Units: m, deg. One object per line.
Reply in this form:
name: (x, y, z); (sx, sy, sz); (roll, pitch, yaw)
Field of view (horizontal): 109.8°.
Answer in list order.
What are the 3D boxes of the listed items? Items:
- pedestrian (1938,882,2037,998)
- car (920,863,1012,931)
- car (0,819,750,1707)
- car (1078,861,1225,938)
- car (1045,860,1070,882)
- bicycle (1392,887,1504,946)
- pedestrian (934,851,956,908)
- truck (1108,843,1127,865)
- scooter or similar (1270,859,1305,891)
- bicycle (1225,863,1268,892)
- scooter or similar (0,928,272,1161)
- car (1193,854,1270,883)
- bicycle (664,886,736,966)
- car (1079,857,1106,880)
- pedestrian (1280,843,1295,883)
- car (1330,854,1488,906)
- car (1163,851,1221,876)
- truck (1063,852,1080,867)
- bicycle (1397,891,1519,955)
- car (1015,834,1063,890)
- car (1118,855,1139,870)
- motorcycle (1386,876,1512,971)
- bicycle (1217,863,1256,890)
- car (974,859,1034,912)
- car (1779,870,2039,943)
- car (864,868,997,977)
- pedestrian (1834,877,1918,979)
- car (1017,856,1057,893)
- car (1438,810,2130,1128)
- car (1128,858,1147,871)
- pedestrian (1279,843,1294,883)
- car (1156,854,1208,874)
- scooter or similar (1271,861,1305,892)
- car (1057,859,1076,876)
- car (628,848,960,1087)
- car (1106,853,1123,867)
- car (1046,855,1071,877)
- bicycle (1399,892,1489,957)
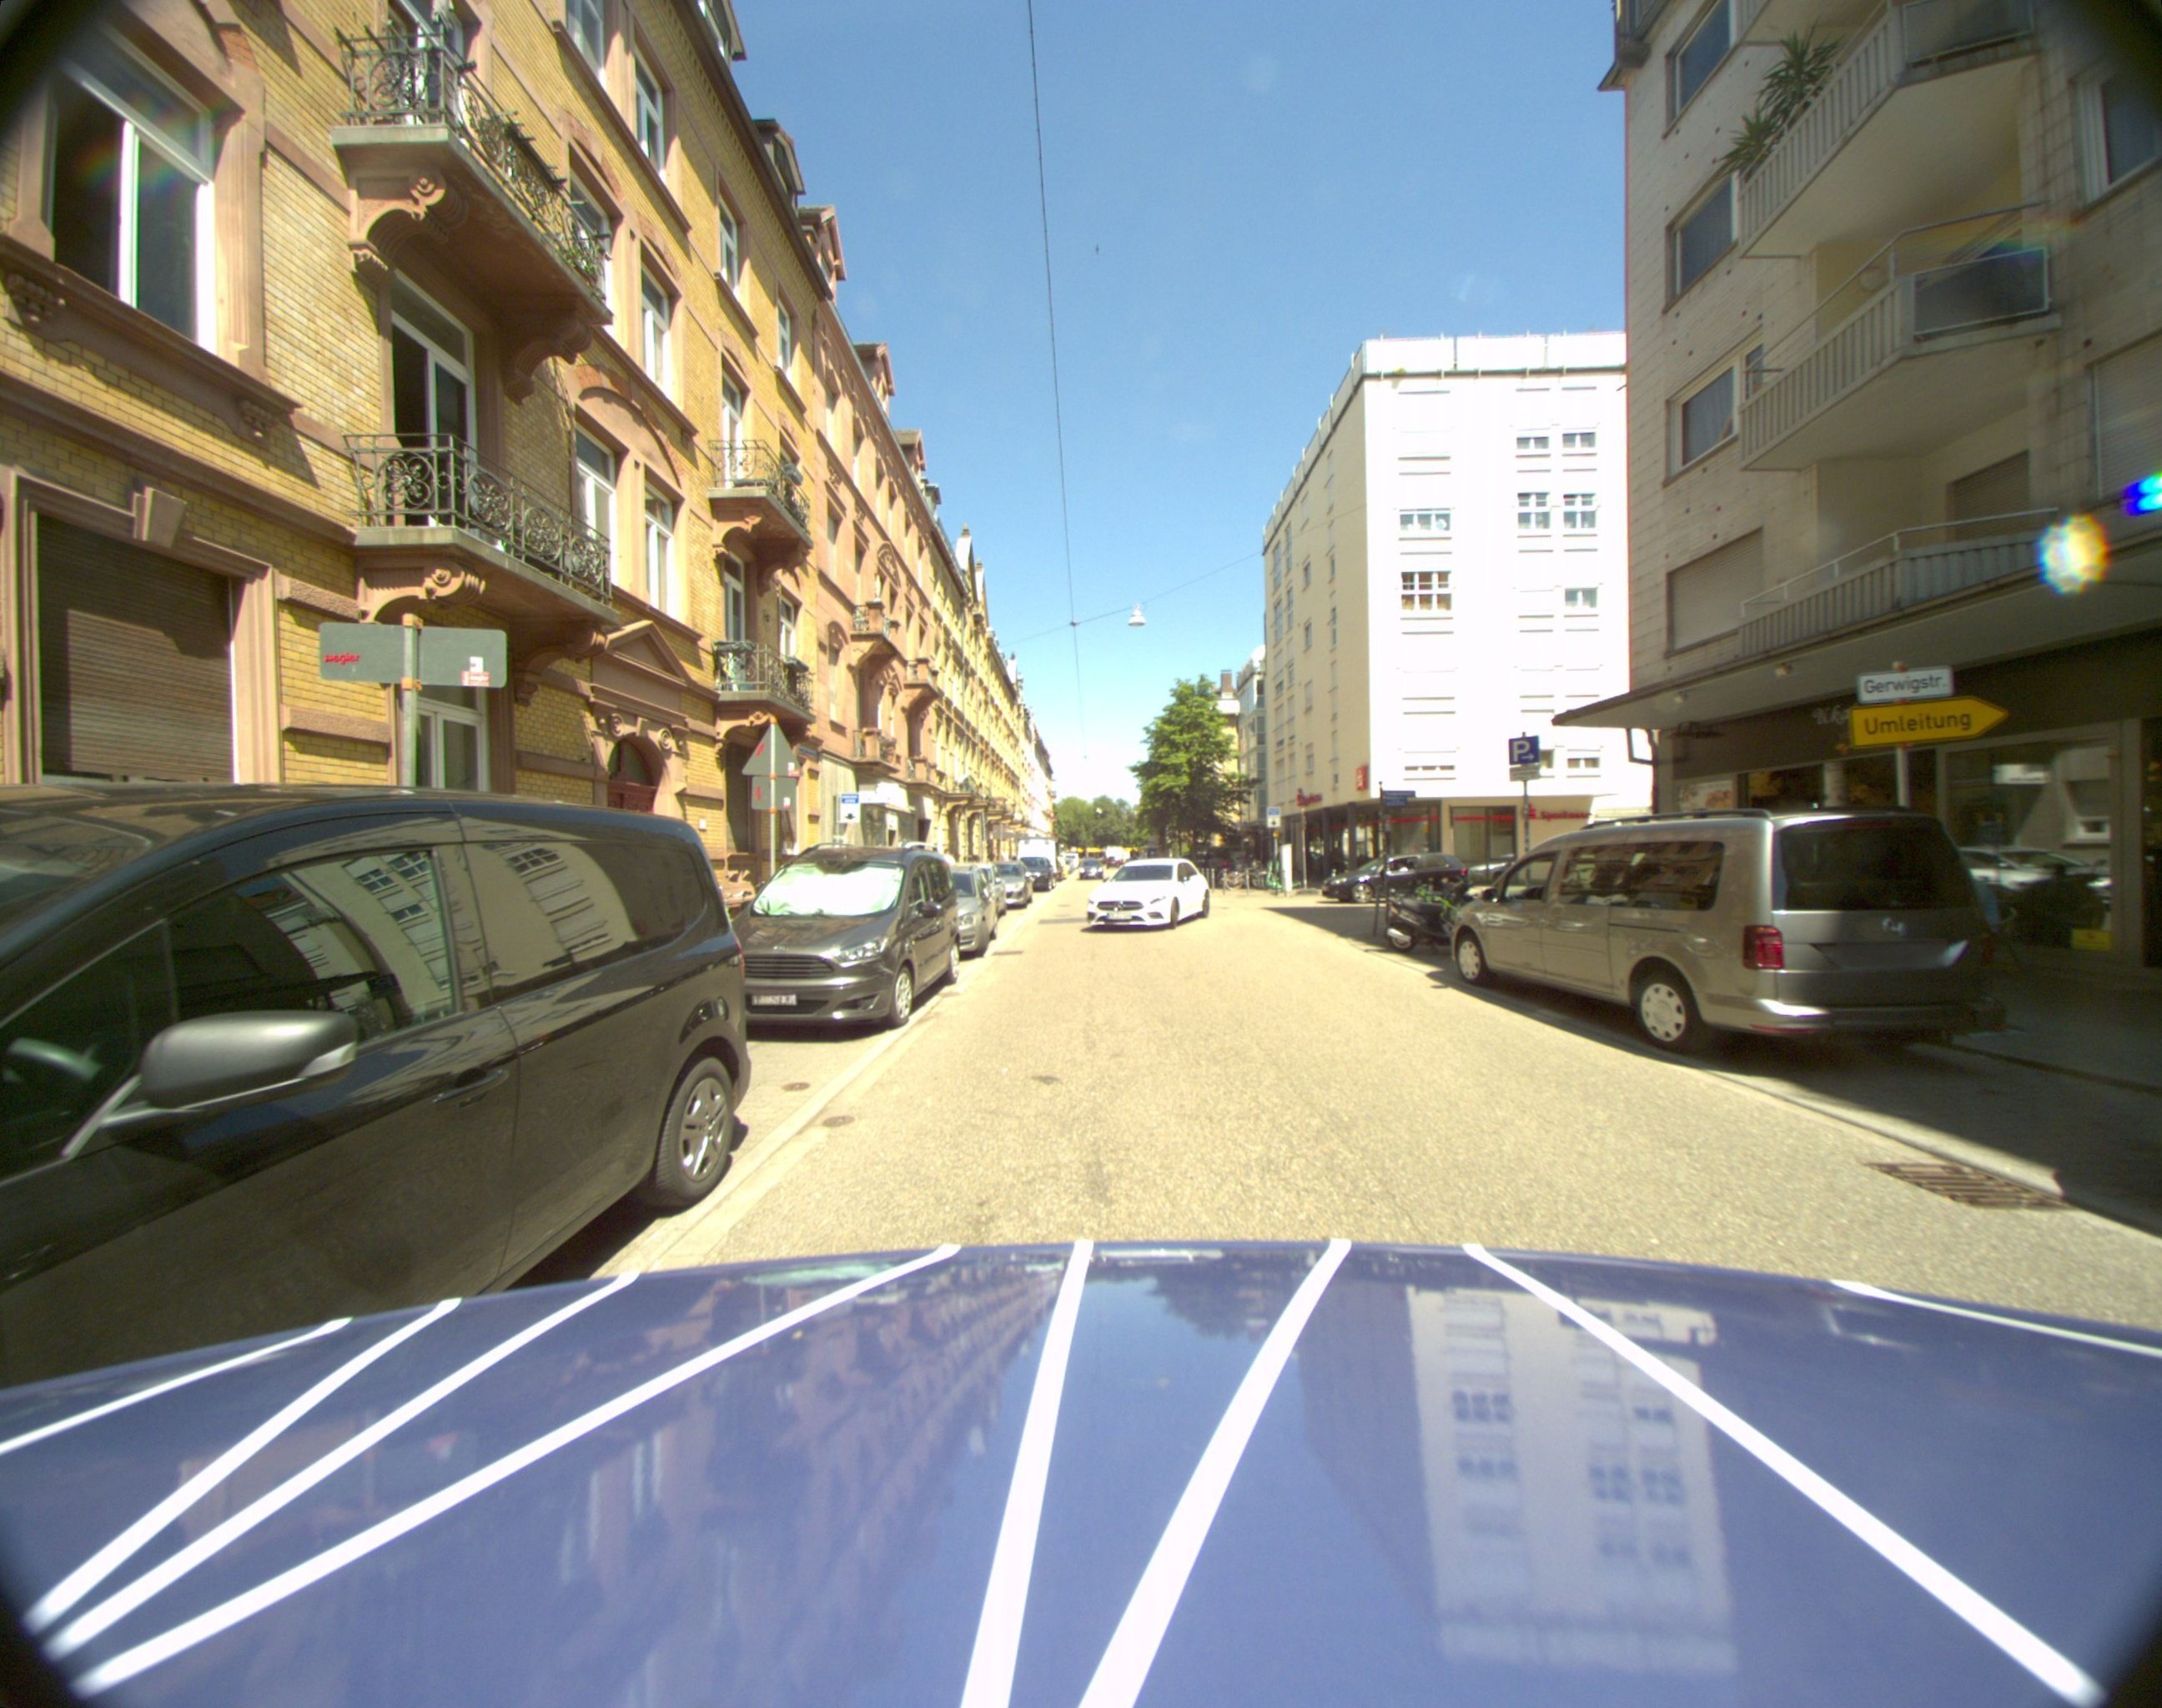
pedestrian: (9.305, 0.861, 7.821); (0.498, 1.120, 0.509); (-1, 0, 29)
car: (-2.865, 1.028, 19.686); (1.830, 1.452, 3.999); (-2, 0, -2)
car: (-2.566, 0.824, 1.673); (1.829, 1.756, 4.337); (0, 0, -1)
car: (1.705, 0.905, 16.835); (1.811, 1.417, 4.249); (-1, 0, 26)
car: (-1.588, 1.115, 51.077); (1.533, 1.293, 3.686); (-2, 0, -2)
bicycle: (6.428, 1.067, 13.380); (1.706, 0.951, 0.411); (-2, 1, 43)
pedestrian: (-4.596, 0.856, 25.638); (0.635, 1.903, 0.370); (-1, 0, 1)
truck: (5.698, -0.005, 119.975); (2.763, 3.270, 4.957); (-2, 0, 1)
scooter or similar: (7.715, 0.797, 28.416); (1.192, 1.160, 0.289); (-1, 0, -1)
bicycle: (6.732, 0.952, 30.971); (1.608, 1.084, 0.371); (-3, 0, 6)
scooter or similar: (-6.173, 1.116, 4.467); (0.477, 1.146, 2.149); (-1, 0, 1)
car: (8.273, 0.783, 41.996); (3.885, 1.520, 1.652); (-1, 0, 0)
bicycle: (-5.975, 1.097, 11.992); (0.366, 1.101, 1.428); (-1, 1, 1)
car: (0.844, 1.012, 54.112); (1.780, 1.460, 4.000); (-3, 0, 1)
pedestrian: (10.826, 0.470, 39.790); (0.608, 2.113, 0.496); (-1, 1, 36)
car: (9.540, 0.737, 22.370); (3.887, 1.417, 1.816); (-1, 0, 5)
car: (7.967, 0.666, 54.615); (3.885, 1.737, 1.652); (-1, 0, 0)
truck: (-1.257, 0.735, 101.747); (1.998, 2.002, 4.902); (-1, 0, 1)
bicycle: (6.102, 1.089, 12.369); (1.706, 0.951, 0.411); (-2, 1, 43)
car: (-2.152, 0.404, 40.467); (2.067, 2.687, 5.039); (-3, 0, 1)
car: (5.061, 0.904, 82.139); (1.998, 1.505, 4.000); (-3, 0, 1)
motorcycle: (5.248, 0.974, 10.881); (1.552, 1.276, 0.394); (-2, 1, 33)
bicycle: (6.692, 0.973, 32.733); (1.608, 1.084, 0.371); (-3, 0, 6)
car: (-2.351, 0.935, 23.931); (1.603, 1.453, 3.689); (-2, 0, -2)
car: (18.199, 1.077, 16.912); (1.526, 1.362, 3.583); (-2, 0, -21)
car: (-2.405, 1.032, 13.012); (1.766, 1.441, 3.903); (-2, 0, -5)
pedestrian: (9.283, 0.841, 8.879); (0.500, 1.120, 0.507); (-1, 0, -19)
car: (-1.970, 0.899, 34.680); (1.682, 1.528, 3.999); (-2, 0, -2)
car: (5.311, 0.690, 6.948); (1.793, 1.818, 4.900); (-2, 0, 1)
car: (6.865, 1.273, 92.840); (1.998, 1.505, 4.000); (-3, 0, 1)
pedestrian: (10.936, 0.468, 40.473); (0.495, 2.113, 0.608); (-1, 0, -19)
car: (7.953, 0.769, 60.107); (3.885, 1.487, 1.652); (-1, 0, 0)
scooter or similar: (7.828, 0.851, 28.769); (1.192, 1.160, 0.289); (-1, 0, -1)
car: (-1.410, 1.261, 73.659); (1.682, 1.528, 3.999); (-2, 0, -2)
car: (-2.447, 0.838, 7.640); (1.706, 1.723, 4.000); (-2, 0, 1)
car: (4.286, 0.752, 97.211); (1.998, 1.674, 4.000); (-3, 0, 1)
car: (-1.674, 0.857, 56.138); (1.682, 1.528, 3.999); (-2, 0, -2)
bicycle: (5.754, 1.101, 12.076); (1.210, 0.951, 0.338); (-2, 1, 43)
